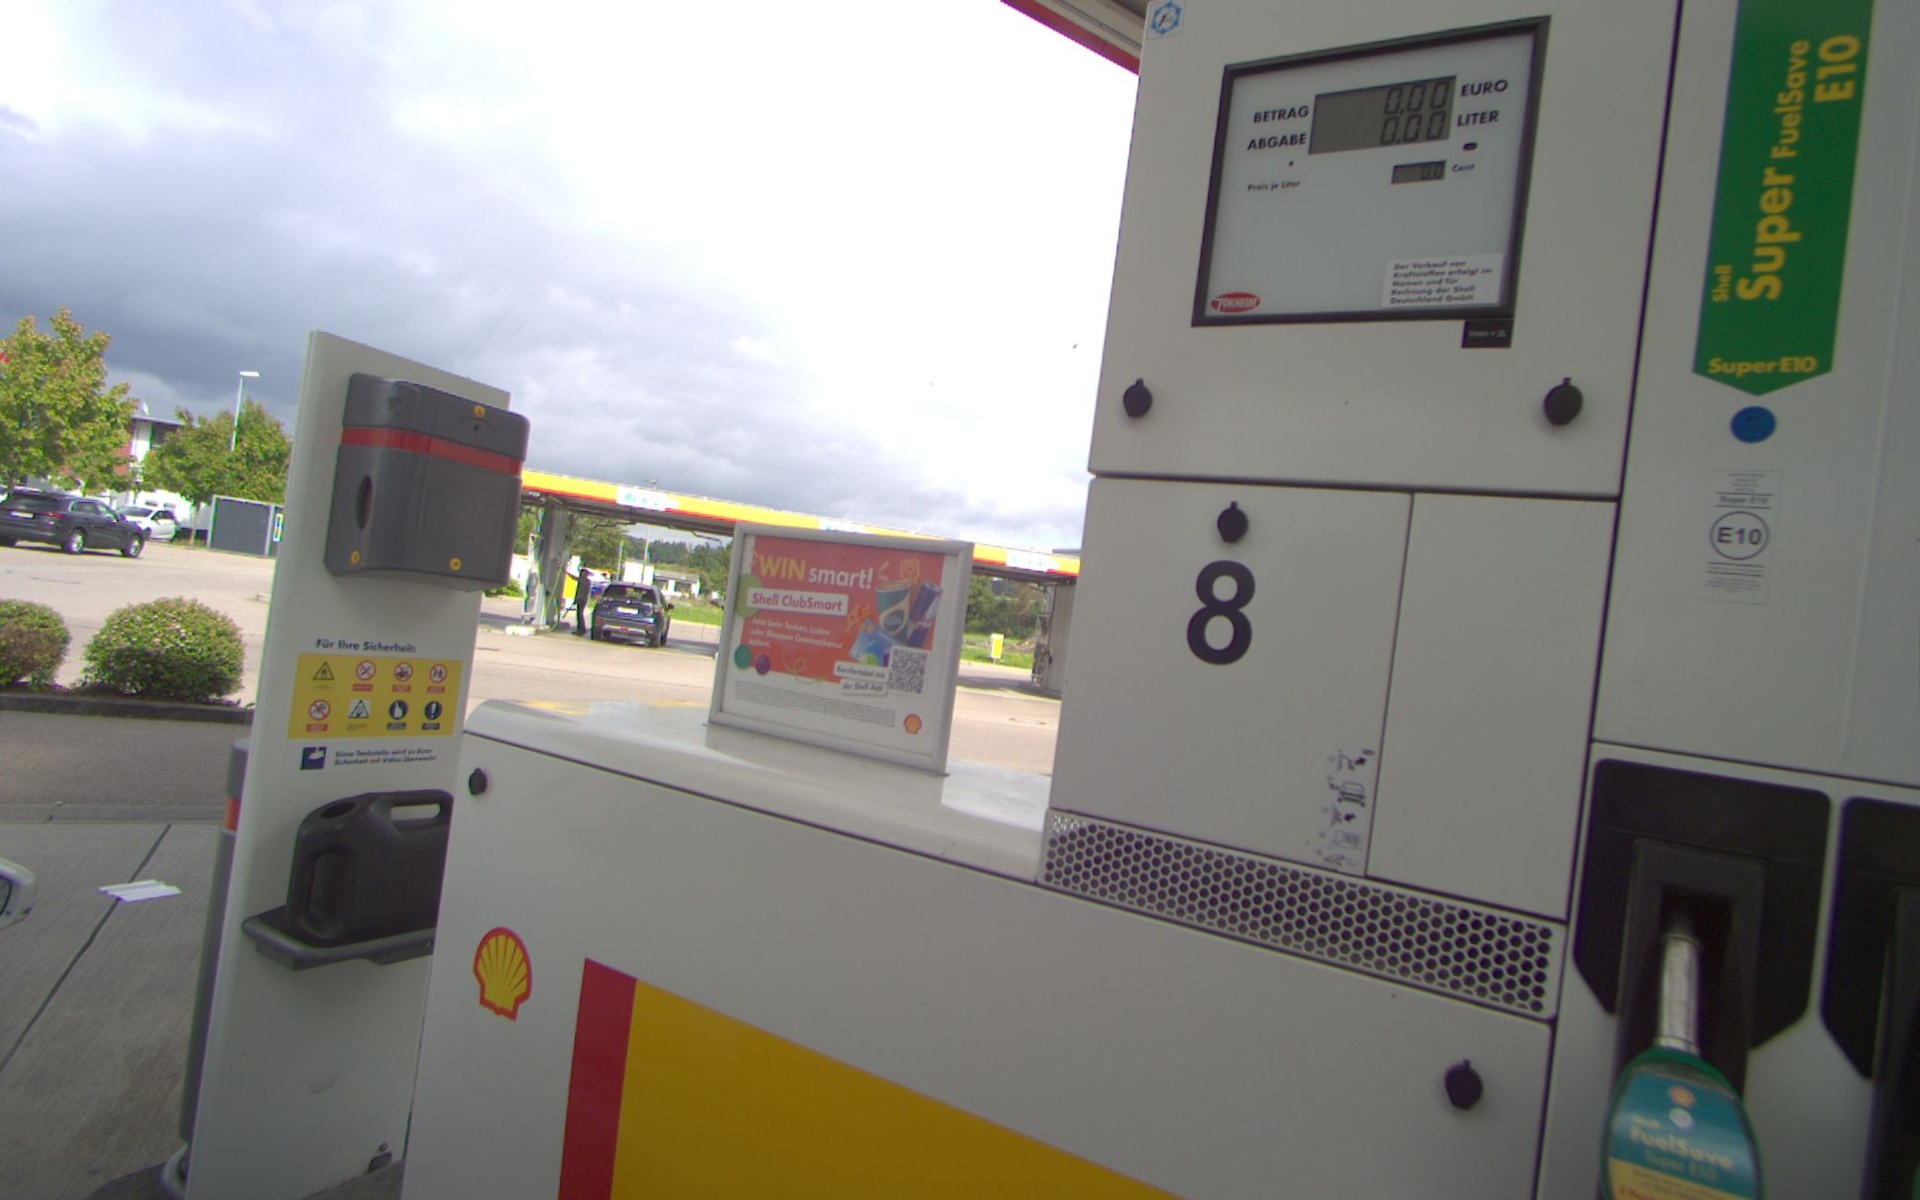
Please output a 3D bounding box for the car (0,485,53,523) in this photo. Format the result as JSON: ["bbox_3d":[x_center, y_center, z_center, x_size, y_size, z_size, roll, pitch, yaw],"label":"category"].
[{"bbox_3d":[-57.359,-5.910,60.255,2.149,1.854,4.870,8,-2,-11],"label":"car"}]

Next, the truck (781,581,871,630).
[{"bbox_3d":[-13.012,0.538,97.518,7.978,3.575,2.687,8,-2,-19],"label":"truck"}]

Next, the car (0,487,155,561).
[{"bbox_3d":[-25.930,-2.170,29.272,1.855,1.566,4.498,8,-2,-10],"label":"car"}]

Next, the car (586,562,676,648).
[{"bbox_3d":[-8.698,0.147,26.873,1.696,1.919,3.800,8,-2,-12],"label":"car"}]

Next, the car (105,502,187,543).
[{"bbox_3d":[-35.259,-3.345,43.658,1.346,1.322,3.098,8,-2,-12],"label":"car"}]

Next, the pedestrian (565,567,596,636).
[{"bbox_3d":[-10.040,0.039,26.646,0.550,1.742,0.526,7,-1,-20],"label":"pedestrian"}]
